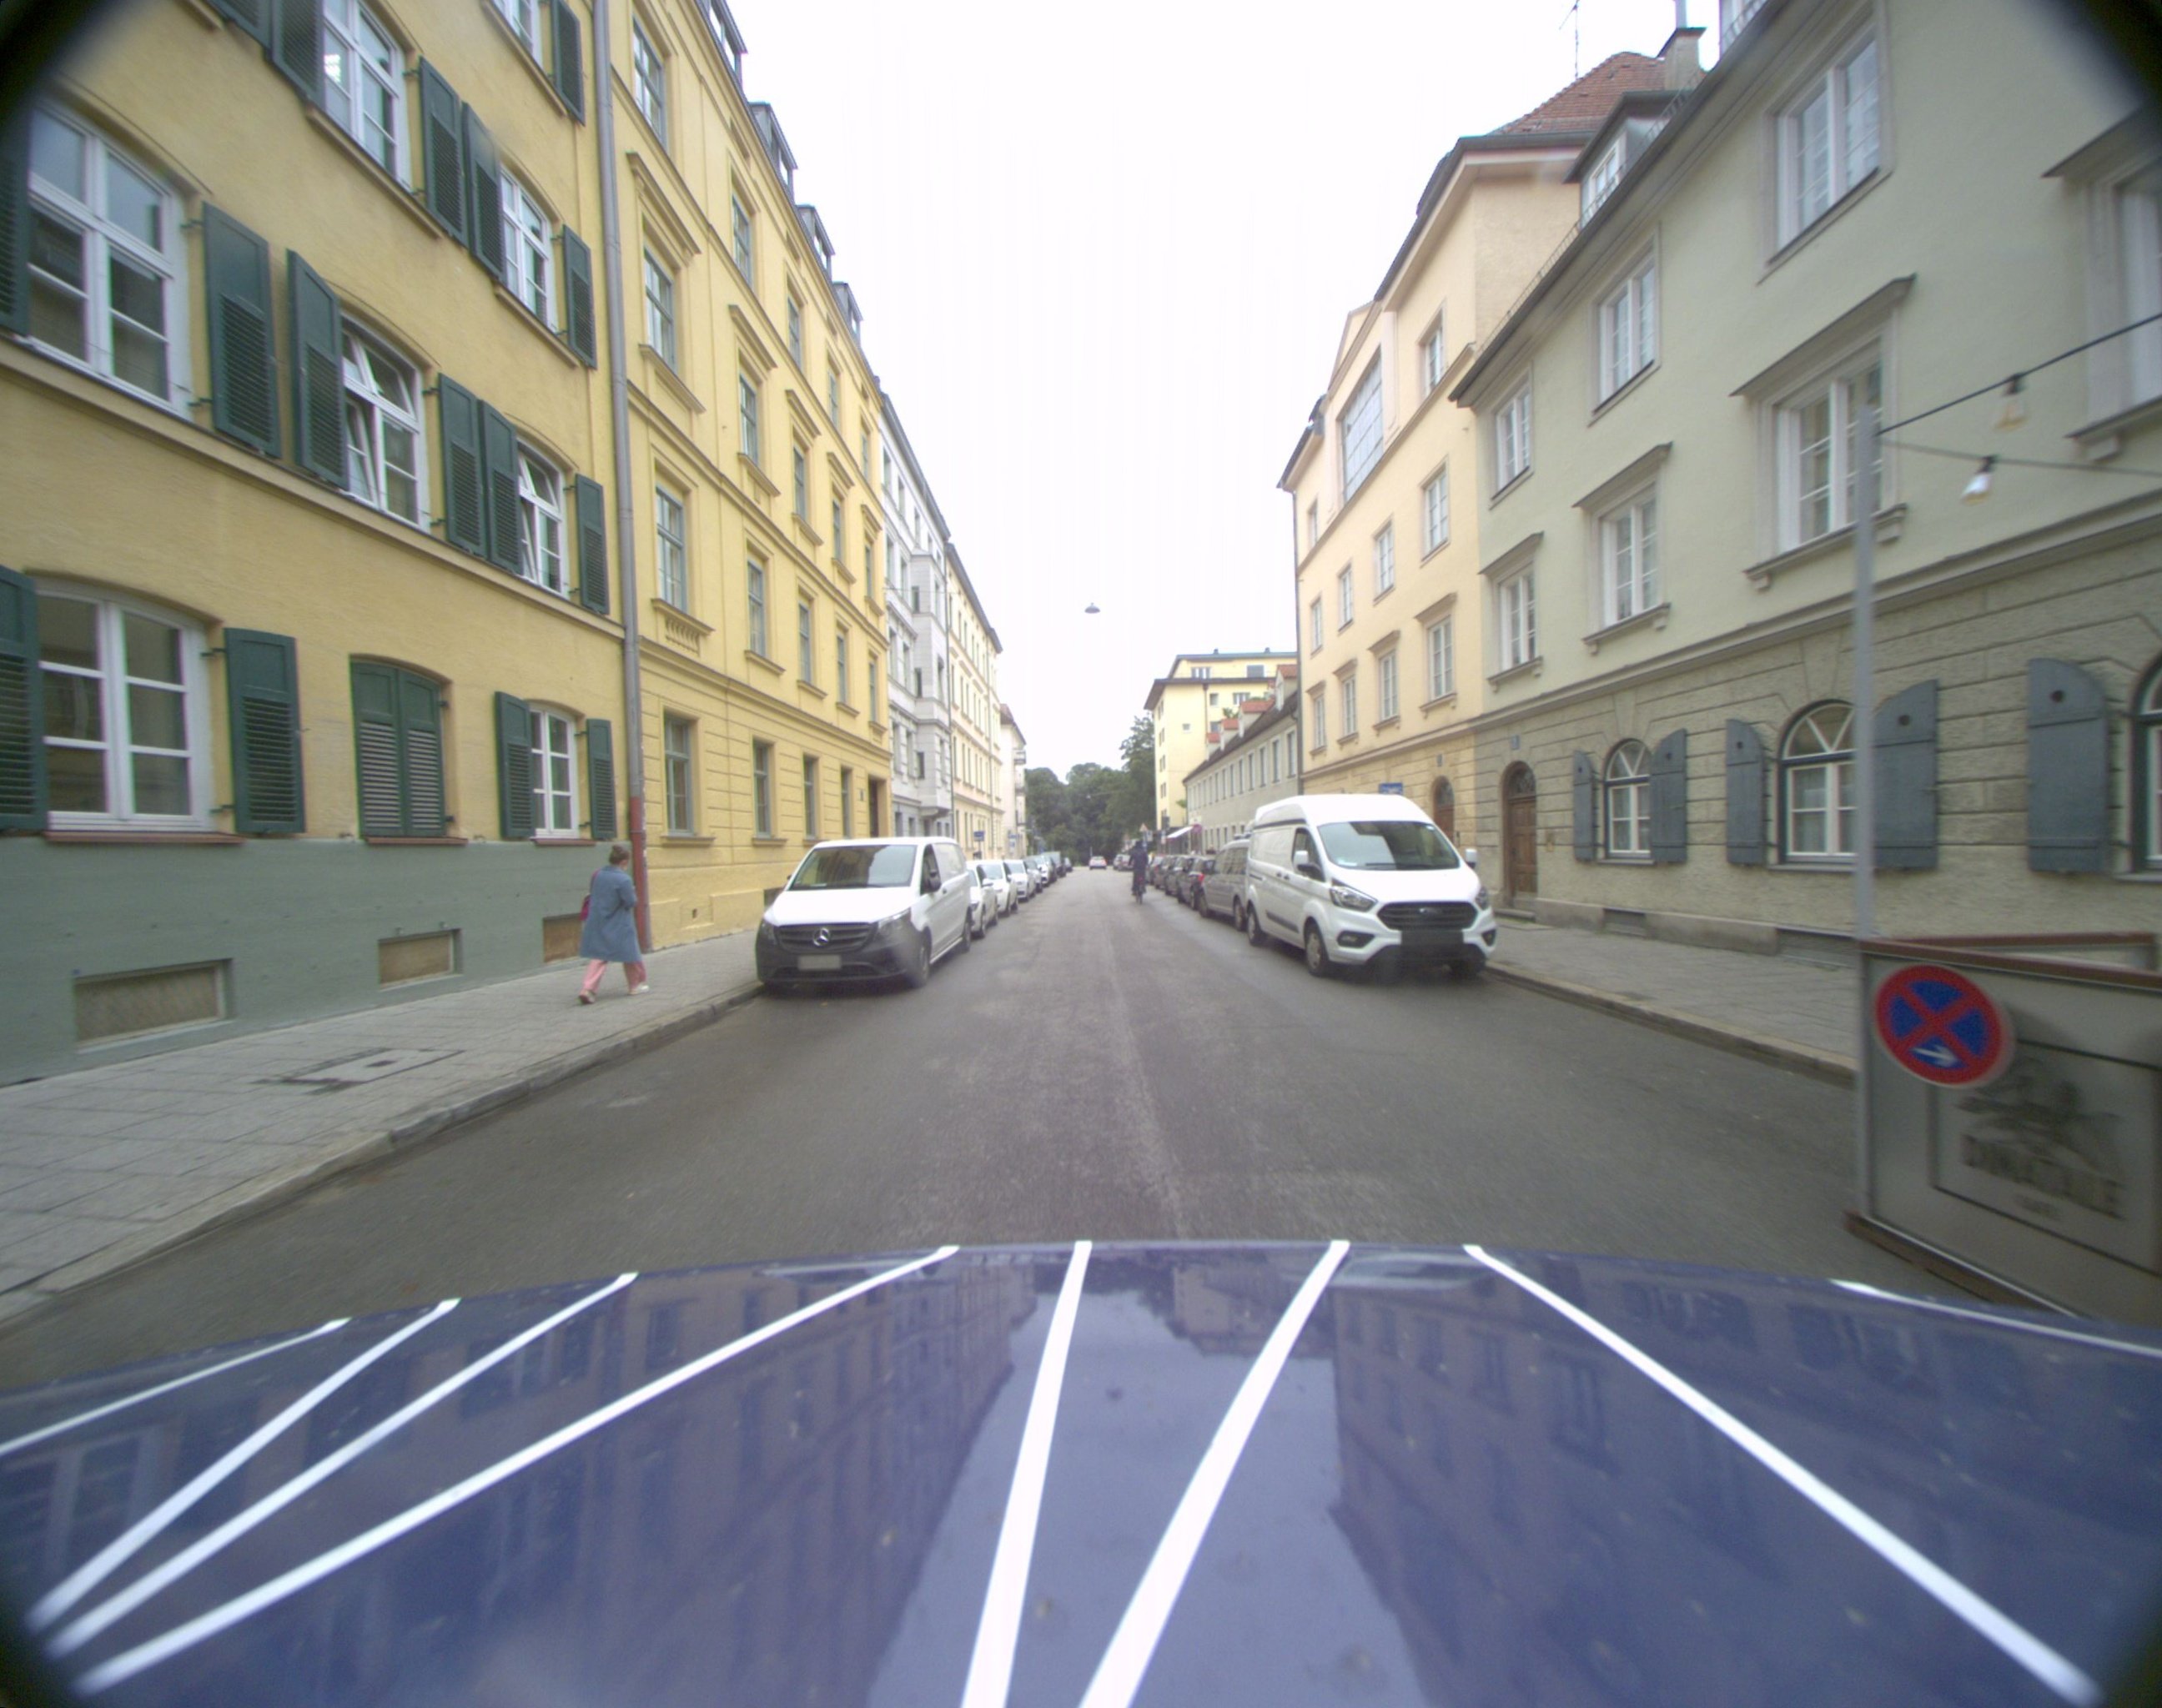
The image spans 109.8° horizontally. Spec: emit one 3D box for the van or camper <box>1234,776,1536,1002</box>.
[{"bbox_3d":[3.700,0.340,10.593,1.998,2.298,5.477,-1,1,0],"label":"van or camper"}]

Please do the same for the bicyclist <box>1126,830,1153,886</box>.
[{"bbox_3d":[1.731,0.105,22.676,0.688,1.618,0.853,-2,1,0],"label":"bicyclist"}]

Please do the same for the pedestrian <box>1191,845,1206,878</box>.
[{"bbox_3d":[5.817,0.378,37.572,0.614,1.589,0.662,-1,1,-3],"label":"pedestrian"}]

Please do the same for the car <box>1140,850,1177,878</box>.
[{"bbox_3d":[4.290,0.530,42.678,1.573,1.505,3.423,-2,0,-2],"label":"car"}]

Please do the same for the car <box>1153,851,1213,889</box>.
[{"bbox_3d":[4.116,0.595,31.306,1.862,1.393,4.269,-2,0,-1],"label":"car"}]

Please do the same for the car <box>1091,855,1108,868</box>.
[{"bbox_3d":[2.025,0.806,82.334,1.793,1.409,3.905,0,0,0],"label":"car"}]

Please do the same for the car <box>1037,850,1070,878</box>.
[{"bbox_3d":[-1.958,0.686,55.377,1.998,1.850,5.114,-1,0,2],"label":"car"}]

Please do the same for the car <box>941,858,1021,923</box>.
[{"bbox_3d":[-2.594,0.903,20.457,1.627,1.501,3.761,-1,0,0],"label":"car"}]

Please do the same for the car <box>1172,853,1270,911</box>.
[{"bbox_3d":[3.791,0.706,21.272,1.862,1.393,4.268,-2,0,-1],"label":"car"}]

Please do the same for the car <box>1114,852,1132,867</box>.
[{"bbox_3d":[4.502,0.603,81.442,1.711,1.550,4.000,-1,0,0],"label":"car"}]

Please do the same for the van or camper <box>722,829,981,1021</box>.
[{"bbox_3d":[-2.770,0.745,10.651,1.998,2.002,5.232,-1,0,0],"label":"van or camper"}]

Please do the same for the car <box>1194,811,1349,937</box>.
[{"bbox_3d":[3.751,0.349,15.870,1.862,2.188,4.560,-2,0,-3],"label":"car"}]

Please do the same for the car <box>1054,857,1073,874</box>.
[{"bbox_3d":[-1.672,1.065,72.872,1.711,1.491,4.000,-1,0,0],"label":"car"}]

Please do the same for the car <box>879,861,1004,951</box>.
[{"bbox_3d":[-2.722,0.953,15.845,1.820,1.501,4.586,-1,0,-1],"label":"car"}]

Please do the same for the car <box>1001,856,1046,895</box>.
[{"bbox_3d":[-2.404,0.884,32.714,1.721,1.501,3.935,-1,0,-2],"label":"car"}]

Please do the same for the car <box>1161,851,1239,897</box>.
[{"bbox_3d":[3.988,0.639,26.178,1.862,1.393,4.268,-2,0,-2],"label":"car"}]

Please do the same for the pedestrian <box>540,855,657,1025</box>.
[{"bbox_3d":[-4.933,0.836,7.817,0.598,1.629,0.896,2,0,-1],"label":"pedestrian"}]

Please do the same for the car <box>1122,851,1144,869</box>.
[{"bbox_3d":[4.602,0.512,67.273,1.711,1.491,4.000,-1,0,0],"label":"car"}]

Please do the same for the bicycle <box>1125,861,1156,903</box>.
[{"bbox_3d":[1.765,0.809,22.826,0.734,1.144,1.999,-1,0,0],"label":"bicycle"}]

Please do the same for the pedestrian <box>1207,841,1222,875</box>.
[{"bbox_3d":[6.625,0.191,37.778,0.582,1.689,0.806,-1,1,-2],"label":"pedestrian"}]

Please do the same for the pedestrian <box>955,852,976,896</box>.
[{"bbox_3d":[-4.887,0.845,32.221,0.703,1.851,0.805,-1,1,-1],"label":"pedestrian"}]

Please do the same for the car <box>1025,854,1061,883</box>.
[{"bbox_3d":[-2.156,0.787,44.206,1.721,1.557,4.143,-1,0,1],"label":"car"}]

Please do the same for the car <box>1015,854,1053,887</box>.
[{"bbox_3d":[-2.353,0.798,39.134,1.721,1.592,4.322,-1,0,-1],"label":"car"}]

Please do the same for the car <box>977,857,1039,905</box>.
[{"bbox_3d":[-2.514,0.910,27.126,1.721,1.501,4.469,-1,0,1],"label":"car"}]

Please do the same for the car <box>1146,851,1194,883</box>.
[{"bbox_3d":[4.281,0.591,37.112,1.862,1.393,4.269,-2,0,0],"label":"car"}]
